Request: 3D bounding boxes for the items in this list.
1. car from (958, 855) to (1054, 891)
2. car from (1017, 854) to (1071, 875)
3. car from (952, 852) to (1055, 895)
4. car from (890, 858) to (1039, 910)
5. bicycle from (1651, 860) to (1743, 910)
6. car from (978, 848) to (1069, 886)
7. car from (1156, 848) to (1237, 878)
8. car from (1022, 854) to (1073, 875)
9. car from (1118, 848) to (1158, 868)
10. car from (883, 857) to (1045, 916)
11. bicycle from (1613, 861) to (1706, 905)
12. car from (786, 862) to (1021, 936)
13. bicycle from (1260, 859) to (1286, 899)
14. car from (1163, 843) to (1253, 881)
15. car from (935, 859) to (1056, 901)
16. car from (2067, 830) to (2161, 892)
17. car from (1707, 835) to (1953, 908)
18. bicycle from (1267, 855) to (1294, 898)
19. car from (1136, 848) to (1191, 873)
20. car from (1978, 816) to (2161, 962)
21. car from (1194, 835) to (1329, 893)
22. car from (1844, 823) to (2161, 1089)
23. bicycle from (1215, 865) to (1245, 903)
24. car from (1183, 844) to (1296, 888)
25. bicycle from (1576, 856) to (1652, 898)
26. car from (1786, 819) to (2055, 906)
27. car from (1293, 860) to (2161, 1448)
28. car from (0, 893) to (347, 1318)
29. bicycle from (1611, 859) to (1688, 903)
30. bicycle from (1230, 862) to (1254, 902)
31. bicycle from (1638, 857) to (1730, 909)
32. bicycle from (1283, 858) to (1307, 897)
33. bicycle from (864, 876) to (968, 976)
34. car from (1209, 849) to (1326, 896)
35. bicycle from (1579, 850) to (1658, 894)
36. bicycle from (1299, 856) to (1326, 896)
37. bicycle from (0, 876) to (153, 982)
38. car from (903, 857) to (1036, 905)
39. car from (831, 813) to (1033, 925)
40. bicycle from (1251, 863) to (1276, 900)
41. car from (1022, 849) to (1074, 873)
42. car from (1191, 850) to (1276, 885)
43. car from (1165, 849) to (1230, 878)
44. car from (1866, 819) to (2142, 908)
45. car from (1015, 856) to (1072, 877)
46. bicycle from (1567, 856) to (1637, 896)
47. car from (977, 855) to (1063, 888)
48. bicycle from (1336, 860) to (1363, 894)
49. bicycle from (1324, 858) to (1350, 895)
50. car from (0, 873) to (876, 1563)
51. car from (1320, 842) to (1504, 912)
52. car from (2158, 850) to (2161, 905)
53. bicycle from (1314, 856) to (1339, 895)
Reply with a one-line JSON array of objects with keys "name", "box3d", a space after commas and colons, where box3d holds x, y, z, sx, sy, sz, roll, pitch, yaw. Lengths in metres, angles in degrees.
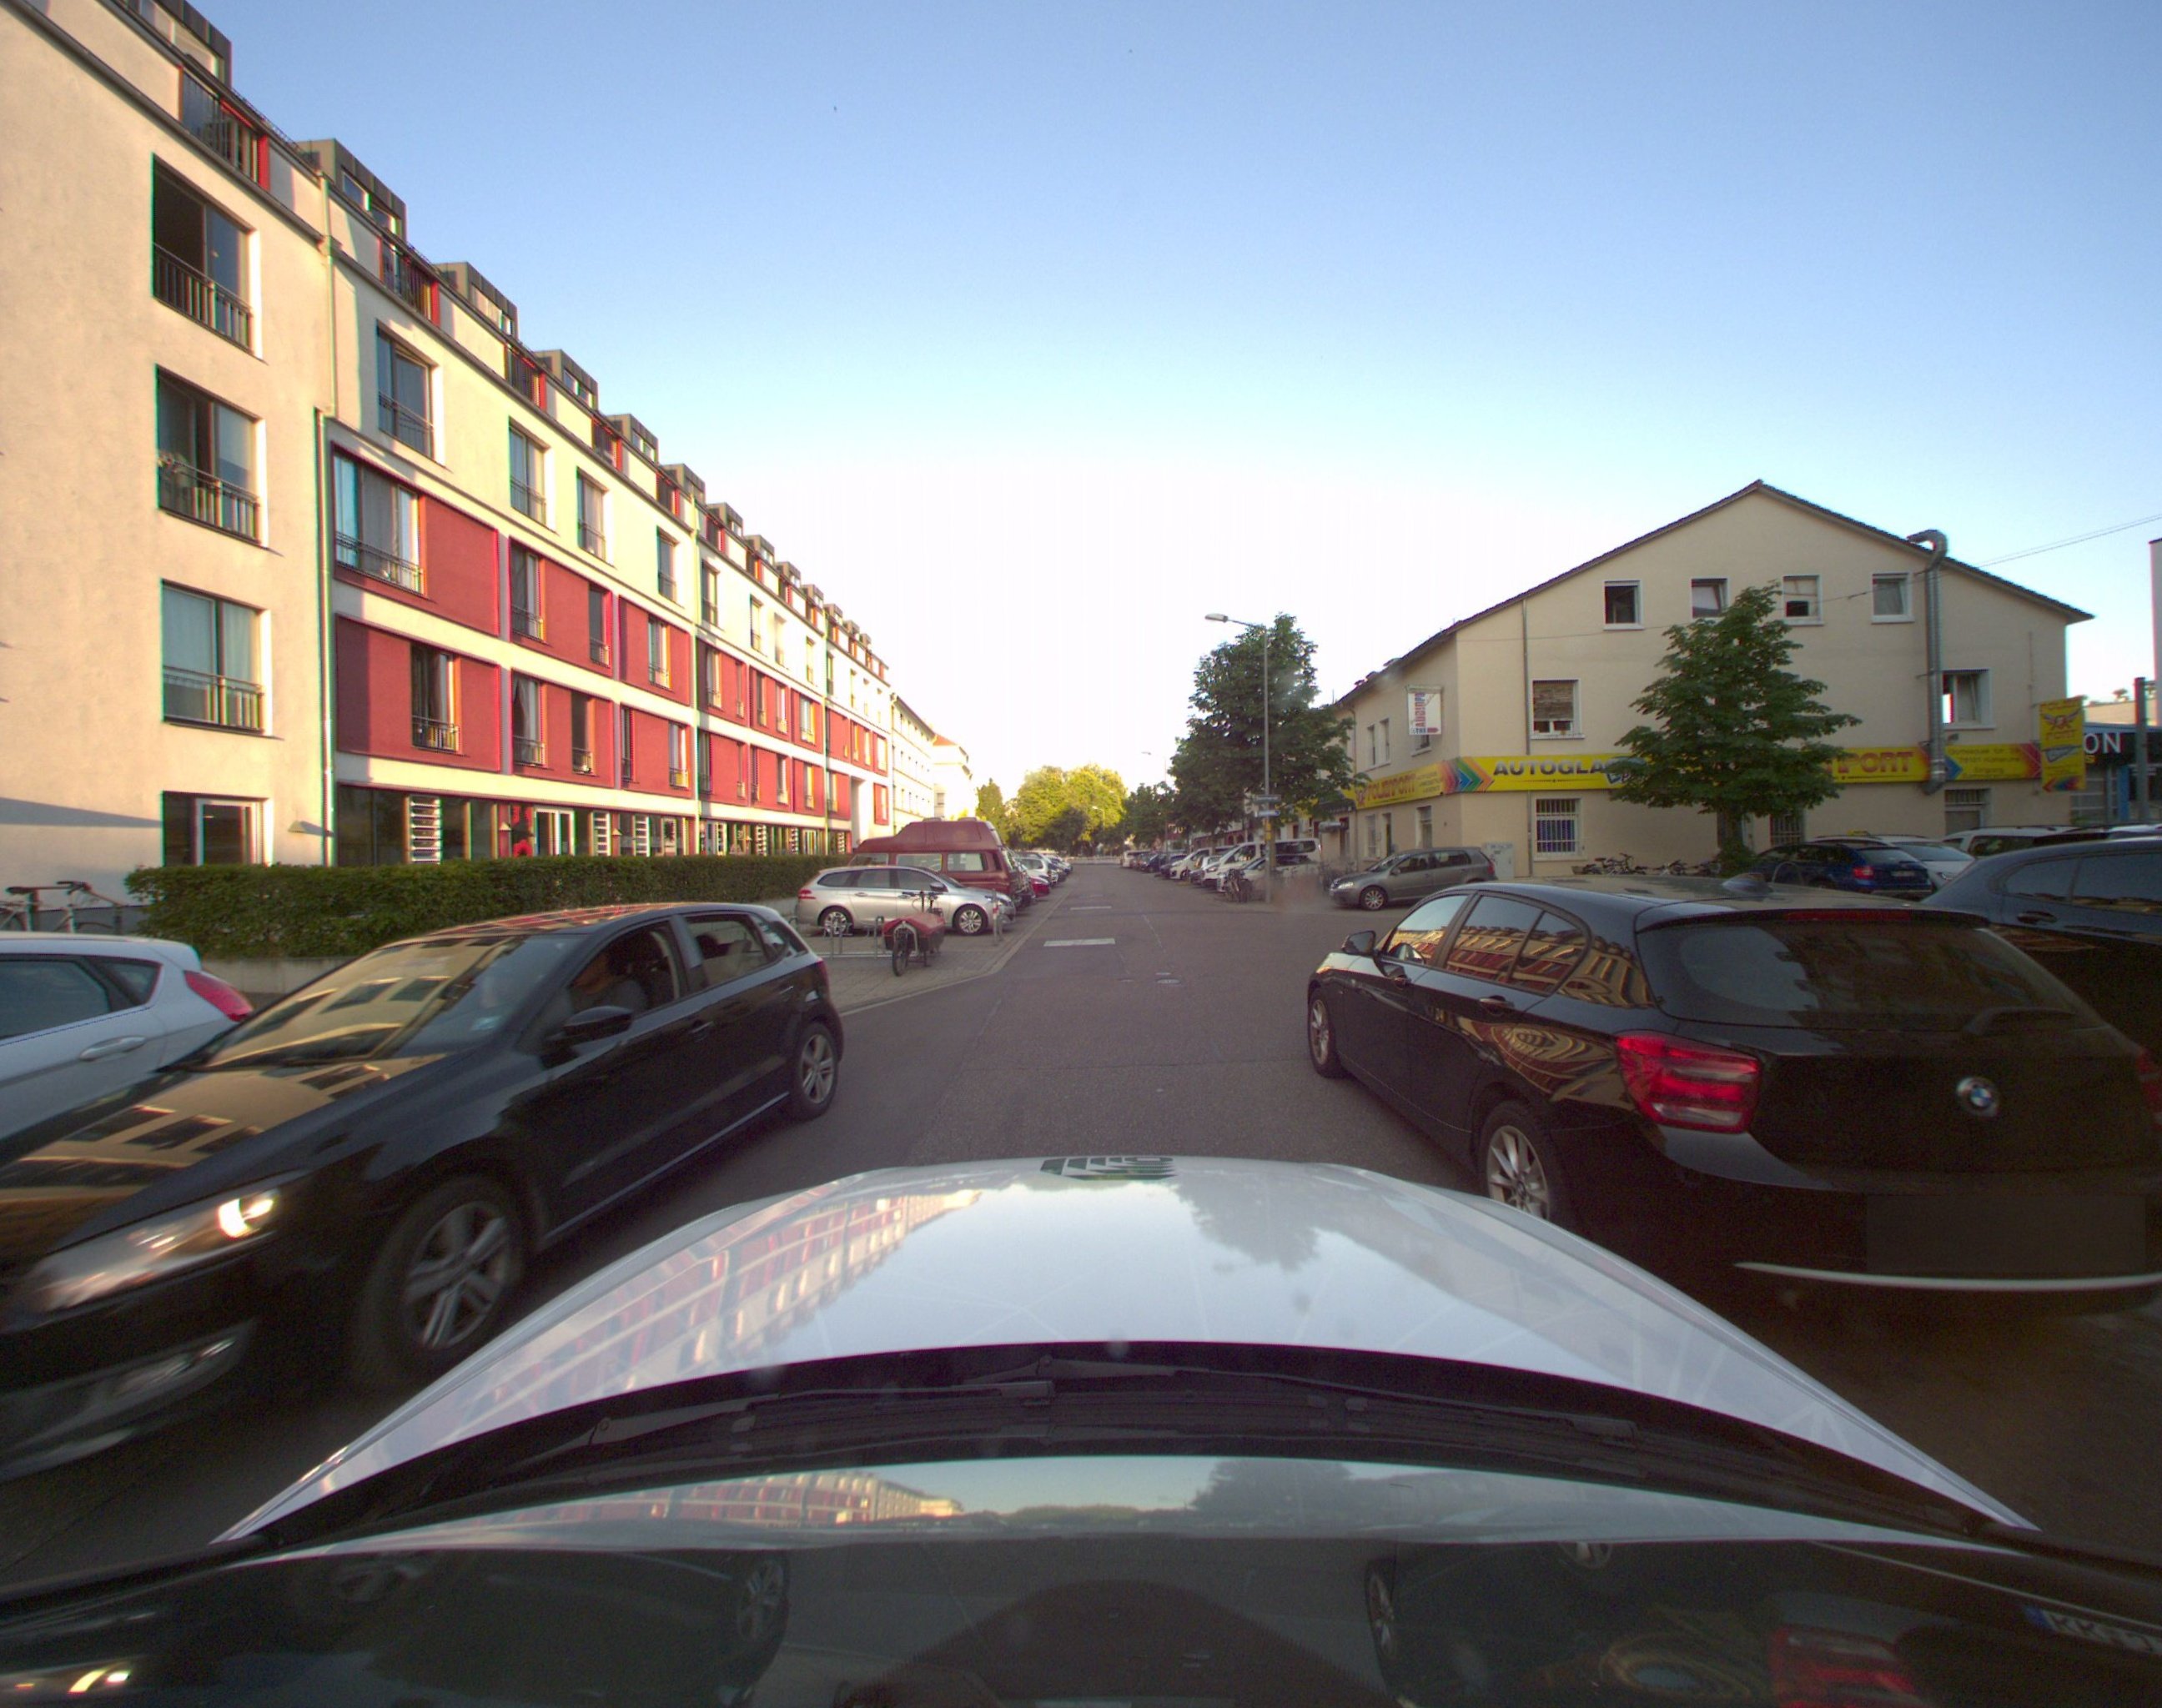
[{"name": "car", "box3d": [-3.450, 0.857, 38.042, 4.241, 1.660, 2.001, 0, 0, 1]}, {"name": "car", "box3d": [-2.966, 0.852, 66.055, 4.241, 1.714, 2.001, 0, 0, 1]}, {"name": "car", "box3d": [-3.342, 0.813, 35.565, 4.241, 1.836, 2.001, 0, 0, 1]}, {"name": "car", "box3d": [-3.532, 0.890, 25.100, 4.186, 1.538, 1.846, 0, 0, 7]}, {"name": "bicycle", "box3d": [13.699, 0.679, 18.111, 1.848, 1.075, 0.427, -1, 2, -7]}, {"name": "car", "box3d": [-3.137, 0.693, 44.951, 4.833, 2.021, 1.907, 0, 0, 1]}, {"name": "car", "box3d": [7.526, 0.588, 53.385, 4.928, 1.689, 2.076, -3, 0, 0]}, {"name": "car", "box3d": [-2.879, 0.885, 70.827, 4.241, 1.749, 2.001, 0, 0, 1]}, {"name": "car", "box3d": [6.051, 0.402, 86.516, 3.959, 1.911, 2.047, -3, 0, -3]}, {"name": "car", "box3d": [-3.149, 0.868, 22.524, 4.196, 1.538, 1.790, 0, 0, -1]}, {"name": "bicycle", "box3d": [13.618, 0.686, 19.200, 1.842, 1.010, 0.428, 0, 2, 2]}, {"name": "car", "box3d": [-3.640, 0.910, 17.385, 4.603, 1.460, 1.879, 0, 0, -2]}, {"name": "bicycle", "box3d": [6.186, 0.784, 26.365, 0.384, 1.200, 2.018, -3, 0, 2]}, {"name": "car", "box3d": [7.524, 0.462, 48.537, 4.928, 1.958, 2.049, -3, 0, 0]}, {"name": "car", "box3d": [-3.093, 0.923, 30.135, 4.193, 1.490, 1.851, 0, 0, 2]}, {"name": "car", "box3d": [27.484, 0.139, 19.756, 1.866, 1.537, 4.332, -2, -2, 0]}, {"name": "car", "box3d": [17.898, 0.393, 19.837, 1.735, 1.509, 4.571, -2, 0, 0]}, {"name": "bicycle", "box3d": [6.445, 0.710, 26.369, 0.384, 1.304, 2.018, -3, 0, 2]}, {"name": "car", "box3d": [7.193, 0.533, 71.003, 4.469, 1.911, 1.686, -3, 0, -4]}, {"name": "car", "box3d": [14.528, 0.368, 10.283, 4.305, 1.672, 1.878, -2, -2, -1]}, {"name": "car", "box3d": [7.273, 0.389, 33.272, 4.971, 1.983, 2.221, -3, 0, 2]}, {"name": "car", "box3d": [6.759, 0.536, 4.074, 1.720, 1.424, 4.423, -3, 0, 1]}, {"name": "bicycle", "box3d": [4.777, 0.952, 26.191, 0.437, 1.130, 2.014, -3, 0, -4]}, {"name": "car", "box3d": [7.427, 0.546, 38.615, 4.925, 1.742, 2.050, -3, 0, 2]}, {"name": "bicycle", "box3d": [13.704, 0.585, 20.942, 1.725, 1.070, 0.344, 0, 2, 0]}, {"name": "car", "box3d": [20.121, 0.140, 19.882, 1.866, 1.831, 4.578, -2, 1, 1]}, {"name": "car", "box3d": [2.438, 0.763, 4.156, 1.715, 1.424, 4.254, 0, 0, 1]}, {"name": "car", "box3d": [-4.895, 0.992, 2.514, 1.646, 1.530, 4.015, -1, 0, -1]}, {"name": "bicycle", "box3d": [13.758, 0.640, 19.725, 1.596, 1.041, 0.344, 0, 2, 2]}, {"name": "bicycle", "box3d": [5.196, 0.877, 26.368, 0.384, 1.200, 2.018, -3, 0, 2]}, {"name": "bicycle", "box3d": [13.700, 0.647, 18.517, 1.916, 1.128, 0.427, -1, 0, -7]}, {"name": "bicycle", "box3d": [6.861, 0.747, 26.202, 0.384, 1.200, 1.482, -3, 0, 2]}, {"name": "bicycle", "box3d": [-2.358, 0.981, 12.055, 0.804, 1.221, 2.867, 0, 0, 3]}, {"name": "car", "box3d": [6.926, 0.670, 30.490, 3.907, 1.451, 1.767, -3, 0, -1]}, {"name": "bicycle", "box3d": [14.350, 0.490, 21.762, 1.852, 1.149, 0.344, 0, 2, 2]}, {"name": "bicycle", "box3d": [7.434, 0.690, 26.157, 0.443, 1.200, 1.482, -3, 0, 2]}, {"name": "bicycle", "box3d": [-11.920, 0.844, 9.414, 1.768, 1.148, 0.611, 0, 0, 4]}, {"name": "car", "box3d": [-3.662, 0.877, 27.365, 4.196, 1.575, 2.000, 0, 0, -1]}, {"name": "car", "box3d": [-3.538, 0.348, 19.965, 4.492, 2.584, 2.002, 0, 0, 3]}, {"name": "bicycle", "box3d": [5.905, 0.852, 26.385, 0.384, 1.114, 2.018, -3, 0, 2]}, {"name": "car", "box3d": [-2.950, 0.655, 73.469, 4.517, 2.134, 2.001, 0, 0, 1]}, {"name": "car", "box3d": [7.666, 0.675, 41.244, 3.896, 1.526, 1.940, -3, 0, 2]}, {"name": "car", "box3d": [8.300, 0.658, 58.276, 4.303, 1.804, 1.810, -3, 0, 0]}, {"name": "car", "box3d": [22.428, 0.262, 20.114, 1.866, 1.902, 4.332, -2, -2, 0]}, {"name": "car", "box3d": [-2.879, 0.932, 63.309, 4.242, 1.622, 2.000, 0, 0, 0]}, {"name": "bicycle", "box3d": [13.616, 0.582, 21.292, 1.597, 1.019, 0.344, 0, 2, 0]}, {"name": "car", "box3d": [-3.137, 0.900, 42.393, 4.241, 1.652, 1.888, 0, 0, 1]}, {"name": "bicycle", "box3d": [8.631, 0.732, 26.246, 0.386, 1.017, 1.482, -3, 0, 2]}, {"name": "bicycle", "box3d": [8.225, 0.709, 26.210, 0.351, 1.143, 1.482, -3, 0, 2]}, {"name": "car", "box3d": [-2.611, 0.932, 3.921, 1.642, 1.455, 3.951, -4, 0, 9]}, {"name": "car", "box3d": [8.463, 0.555, 21.093, 4.034, 1.514, 1.757, -3, 1, 2]}, {"name": "car", "box3d": [29.668, 0.619, 19.509, 1.932, 1.640, 4.331, -2, -2, -1]}, {"name": "bicycle", "box3d": [7.861, 0.672, 26.138, 0.351, 1.200, 1.482, -3, 0, 2]}]
